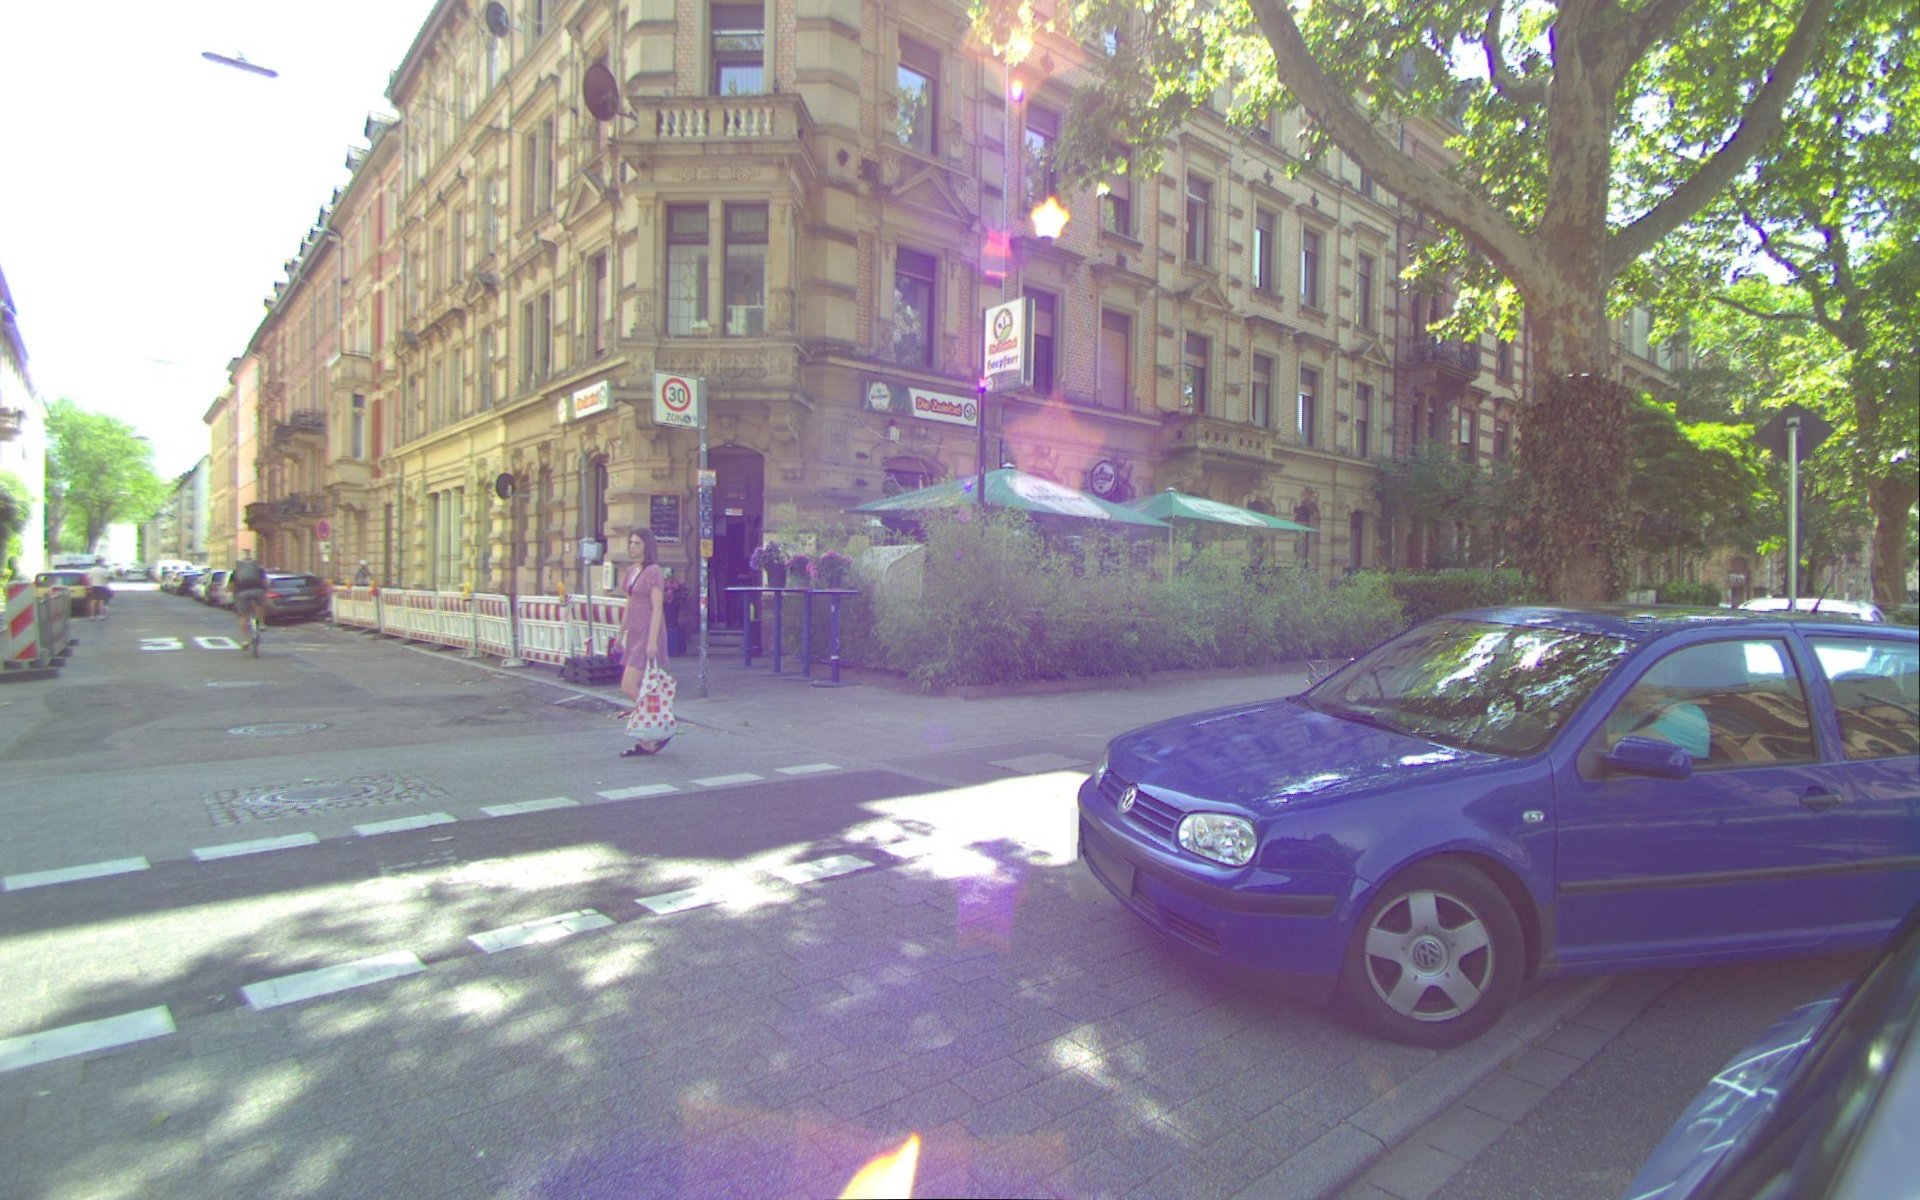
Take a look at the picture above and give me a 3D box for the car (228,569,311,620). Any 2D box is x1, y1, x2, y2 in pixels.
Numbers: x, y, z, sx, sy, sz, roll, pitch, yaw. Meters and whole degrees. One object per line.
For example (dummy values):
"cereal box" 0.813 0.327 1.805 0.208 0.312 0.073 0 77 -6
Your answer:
"car" -23.947 -0.237 35.040 1.965 1.660 3.995 0 1 -41

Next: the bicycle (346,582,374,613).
"bicycle" -19.778 -0.078 33.346 0.530 0.991 1.306 0 1 -44

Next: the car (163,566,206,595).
"car" -49.607 -1.251 64.730 1.965 1.760 3.995 0 1 -41

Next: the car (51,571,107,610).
"car" -36.642 -0.421 42.091 1.698 1.548 3.489 0 1 -41

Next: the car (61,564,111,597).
"car" -47.232 -1.082 54.765 1.879 1.731 4.158 0 1 -39

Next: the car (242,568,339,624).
"car" -20.029 -0.159 30.210 1.965 1.571 3.995 0 1 -41

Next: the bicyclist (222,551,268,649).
"bicyclist" -12.321 -0.005 17.436 0.613 1.643 0.694 0 1 -39

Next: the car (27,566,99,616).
"car" -29.330 -0.316 33.127 1.698 1.548 3.489 0 1 -41

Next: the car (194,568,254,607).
"car" -34.865 -0.628 47.907 1.965 1.760 3.995 0 1 -41

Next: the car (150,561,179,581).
"car" -74.293 -2.702 94.494 1.965 1.760 3.995 0 1 -41

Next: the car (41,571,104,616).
"car" -32.851 -0.269 37.479 1.698 1.548 3.489 0 1 -42

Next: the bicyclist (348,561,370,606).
"bicyclist" -19.832 -0.555 33.406 0.524 1.471 0.460 0 1 -44

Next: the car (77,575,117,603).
"car" -56.433 -0.737 66.226 1.879 1.731 4.158 0 1 -39

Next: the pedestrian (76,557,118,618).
"pedestrian" -26.055 -0.382 30.543 0.921 1.821 1.036 0 1 -44

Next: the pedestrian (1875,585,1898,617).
"pedestrian" 50.645 0.035 55.318 0.951 1.740 0.796 0 1 -41

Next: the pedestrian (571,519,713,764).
"pedestrian" -2.518 0.295 8.012 0.837 1.807 0.737 0 1 -41

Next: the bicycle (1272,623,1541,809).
"bicycle" 2.858 0.725 6.511 1.583 1.119 0.423 1 1 -8

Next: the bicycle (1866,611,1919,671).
"bicycle" 18.232 0.786 19.107 1.615 1.102 0.469 1 1 17

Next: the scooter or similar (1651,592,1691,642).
"scooter or similar" 19.327 0.450 27.517 1.124 1.298 0.583 0 1 -39

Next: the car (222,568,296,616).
"car" -26.979 -0.347 38.902 1.965 1.760 3.995 0 1 -41

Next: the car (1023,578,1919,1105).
"car" 2.492 0.669 4.278 4.007 1.427 1.893 0 2 -16

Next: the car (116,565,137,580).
"car" -100.753 -3.366 122.311 1.965 1.760 3.995 0 1 -41

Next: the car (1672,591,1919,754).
"car" 10.004 0.678 11.933 4.418 1.527 1.835 0 2 -44

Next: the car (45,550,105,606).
"car" -40.074 -1.008 45.909 1.879 2.403 4.243 0 1 -39

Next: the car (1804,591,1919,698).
"car" 15.412 0.641 16.449 4.561 1.527 1.837 0 2 -40

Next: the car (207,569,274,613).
"car" -30.626 -0.414 43.029 1.965 1.760 3.995 0 1 -41

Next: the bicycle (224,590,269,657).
"bicycle" -12.365 0.379 17.521 0.523 1.062 1.924 1 1 -39

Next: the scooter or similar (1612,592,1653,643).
"scooter or similar" 17.205 0.438 25.885 1.124 1.263 0.583 0 1 -40
